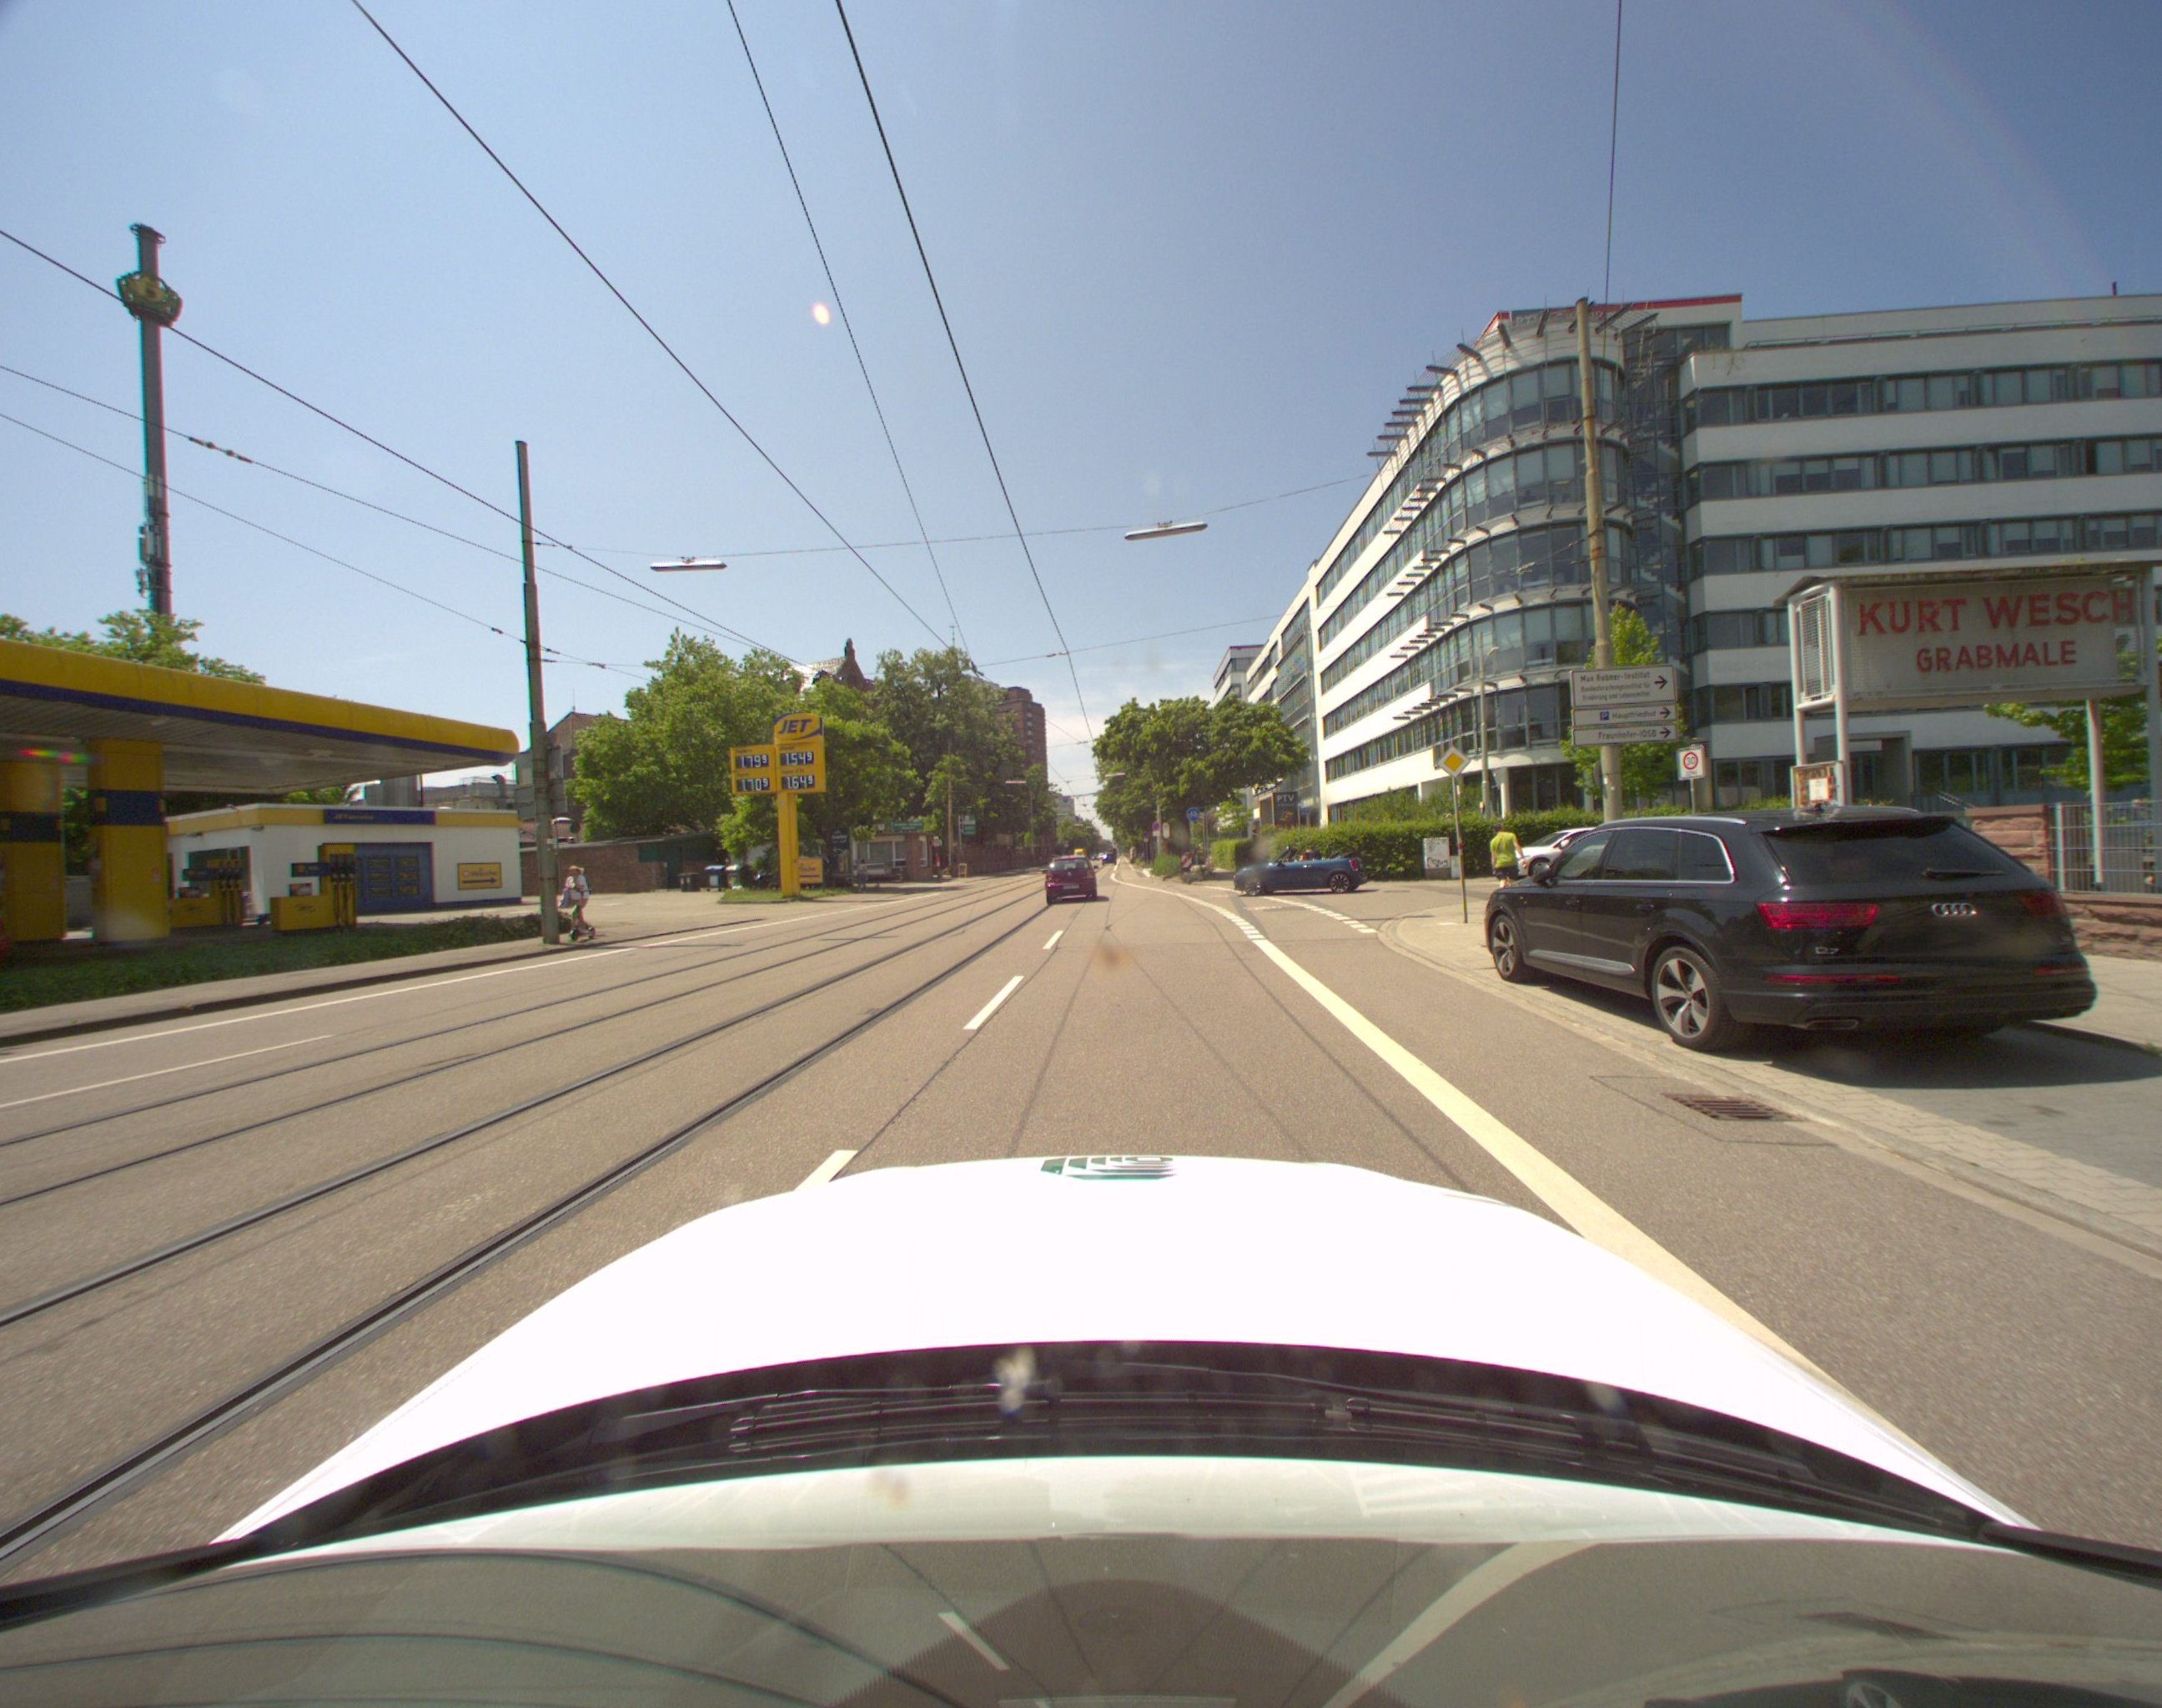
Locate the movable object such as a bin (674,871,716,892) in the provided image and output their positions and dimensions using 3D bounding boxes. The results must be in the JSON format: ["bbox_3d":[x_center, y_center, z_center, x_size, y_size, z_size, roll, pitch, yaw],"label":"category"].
[{"bbox_3d":[-22.015,1.578,46.468,1.391,1.138,1.574,-1,0,27],"label":"movable object such as a bin"}]

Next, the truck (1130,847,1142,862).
[{"bbox_3d":[9.879,0.053,147.594,1.985,2.661,4.878,-1,0,3],"label":"truck"}]

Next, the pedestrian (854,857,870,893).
[{"bbox_3d":[-11.020,1.053,40.929,0.578,1.775,0.699,-1,0,-1],"label":"pedestrian"}]

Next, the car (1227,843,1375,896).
[{"bbox_3d":[6.486,0.457,24.067,3.877,1.372,1.714,-3,-1,27],"label":"car"}]

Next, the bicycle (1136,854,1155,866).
[{"bbox_3d":[6.735,0.643,85.320,1.876,1.182,0.695,-3,-1,2],"label":"bicycle"}]

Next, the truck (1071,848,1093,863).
[{"bbox_3d":[0.176,0.287,174.166,2.350,2.787,7.354,-3,0,18],"label":"truck"}]

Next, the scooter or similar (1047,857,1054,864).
[{"bbox_3d":[-5.392,1.167,142.119,1.091,1.155,0.524,-1,0,-19],"label":"scooter or similar"}]

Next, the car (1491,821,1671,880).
[{"bbox_3d":[14.680,-0.099,24.114,4.127,1.459,1.821,-3,0,6],"label":"car"}]

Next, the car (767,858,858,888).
[{"bbox_3d":[-15.041,1.054,45.774,1.911,1.488,4.478,-1,0,42],"label":"car"}]

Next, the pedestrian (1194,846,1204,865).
[{"bbox_3d":[10.952,0.132,75.433,0.540,1.715,0.561,-4,-1,-27],"label":"pedestrian"}]

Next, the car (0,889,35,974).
[{"bbox_3d":[-21.343,1.519,13.721,1.809,1.504,4.224,0,2,26],"label":"car"}]

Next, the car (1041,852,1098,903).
[{"bbox_3d":[-0.302,0.714,26.784,1.613,1.486,4.002,-3,0,2],"label":"car"}]

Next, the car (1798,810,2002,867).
[{"bbox_3d":[23.907,-0.442,23.873,4.133,1.409,1.768,-3,0,1],"label":"car"}]

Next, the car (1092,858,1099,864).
[{"bbox_3d":[3.689,1.781,206.948,1.763,1.515,4.003,-3,0,3],"label":"car"}]

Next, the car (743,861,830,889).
[{"bbox_3d":[-17.433,1.195,48.409,1.911,1.488,4.479,-1,0,42],"label":"car"}]

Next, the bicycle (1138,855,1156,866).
[{"bbox_3d":[6.974,0.685,86.273,1.816,1.085,0.720,-3,-1,6],"label":"bicycle"}]

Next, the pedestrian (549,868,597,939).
[{"bbox_3d":[-12.663,1.216,20.310,0.621,1.691,0.724,-2,0,10],"label":"pedestrian"}]

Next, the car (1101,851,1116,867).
[{"bbox_3d":[3.695,0.625,109.746,1.987,2.013,4.000,-1,0,1],"label":"car"}]

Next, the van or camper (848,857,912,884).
[{"bbox_3d":[-13.552,1.111,55.036,3.769,1.629,1.873,-1,1,2],"label":"van or camper"}]

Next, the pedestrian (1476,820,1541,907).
[{"bbox_3d":[8.506,0.173,16.233,0.839,1.667,0.730,-2,0,-18],"label":"pedestrian"}]

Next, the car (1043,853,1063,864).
[{"bbox_3d":[-5.872,0.948,171.608,3.966,2.013,2.004,-3,0,6],"label":"car"}]

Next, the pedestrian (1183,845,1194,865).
[{"bbox_3d":[9.929,0.121,75.309,0.681,1.796,0.668,-4,0,-29],"label":"pedestrian"}]

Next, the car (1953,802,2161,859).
[{"bbox_3d":[28.573,-0.665,23.660,4.433,1.409,1.769,-3,0,2],"label":"car"}]

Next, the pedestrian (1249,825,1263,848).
[{"bbox_3d":[13.731,-1.380,63.896,0.868,1.715,1.093,-4,-1,13],"label":"pedestrian"}]

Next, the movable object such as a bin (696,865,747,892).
[{"bbox_3d":[-20.268,1.373,45.910,1.507,1.432,2.112,-1,0,27],"label":"movable object such as a bin"}]

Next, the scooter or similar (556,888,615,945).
[{"bbox_3d":[-11.571,1.439,19.059,0.517,1.200,1.376,-1,0,0],"label":"scooter or similar"}]

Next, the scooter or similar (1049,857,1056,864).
[{"bbox_3d":[-5.077,1.159,144.558,1.091,1.155,0.524,-1,0,-19],"label":"scooter or similar"}]

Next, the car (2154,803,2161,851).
[{"bbox_3d":[33.811,-0.886,23.156,4.132,1.409,1.769,-3,0,2],"label":"car"}]

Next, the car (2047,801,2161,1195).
[{"bbox_3d":[4.986,0.505,1.248,1.765,1.548,4.471,-4,0,3],"label":"car"}]

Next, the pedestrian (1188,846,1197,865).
[{"bbox_3d":[10.210,0.169,74.650,0.540,1.715,0.561,-4,-1,-27],"label":"pedestrian"}]

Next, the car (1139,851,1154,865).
[{"bbox_3d":[7.868,0.484,97.978,1.682,1.503,3.630,-4,0,3],"label":"car"}]

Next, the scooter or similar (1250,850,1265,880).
[{"bbox_3d":[7.403,0.450,34.129,0.323,1.222,1.158,-1,0,24],"label":"scooter or similar"}]

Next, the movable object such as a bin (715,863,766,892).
[{"bbox_3d":[-18.847,1.304,45.142,1.507,1.509,2.112,-1,0,27],"label":"movable object such as a bin"}]

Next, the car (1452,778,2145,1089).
[{"bbox_3d":[5.349,0.460,7.326,1.916,1.693,5.087,-4,0,4],"label":"car"}]
